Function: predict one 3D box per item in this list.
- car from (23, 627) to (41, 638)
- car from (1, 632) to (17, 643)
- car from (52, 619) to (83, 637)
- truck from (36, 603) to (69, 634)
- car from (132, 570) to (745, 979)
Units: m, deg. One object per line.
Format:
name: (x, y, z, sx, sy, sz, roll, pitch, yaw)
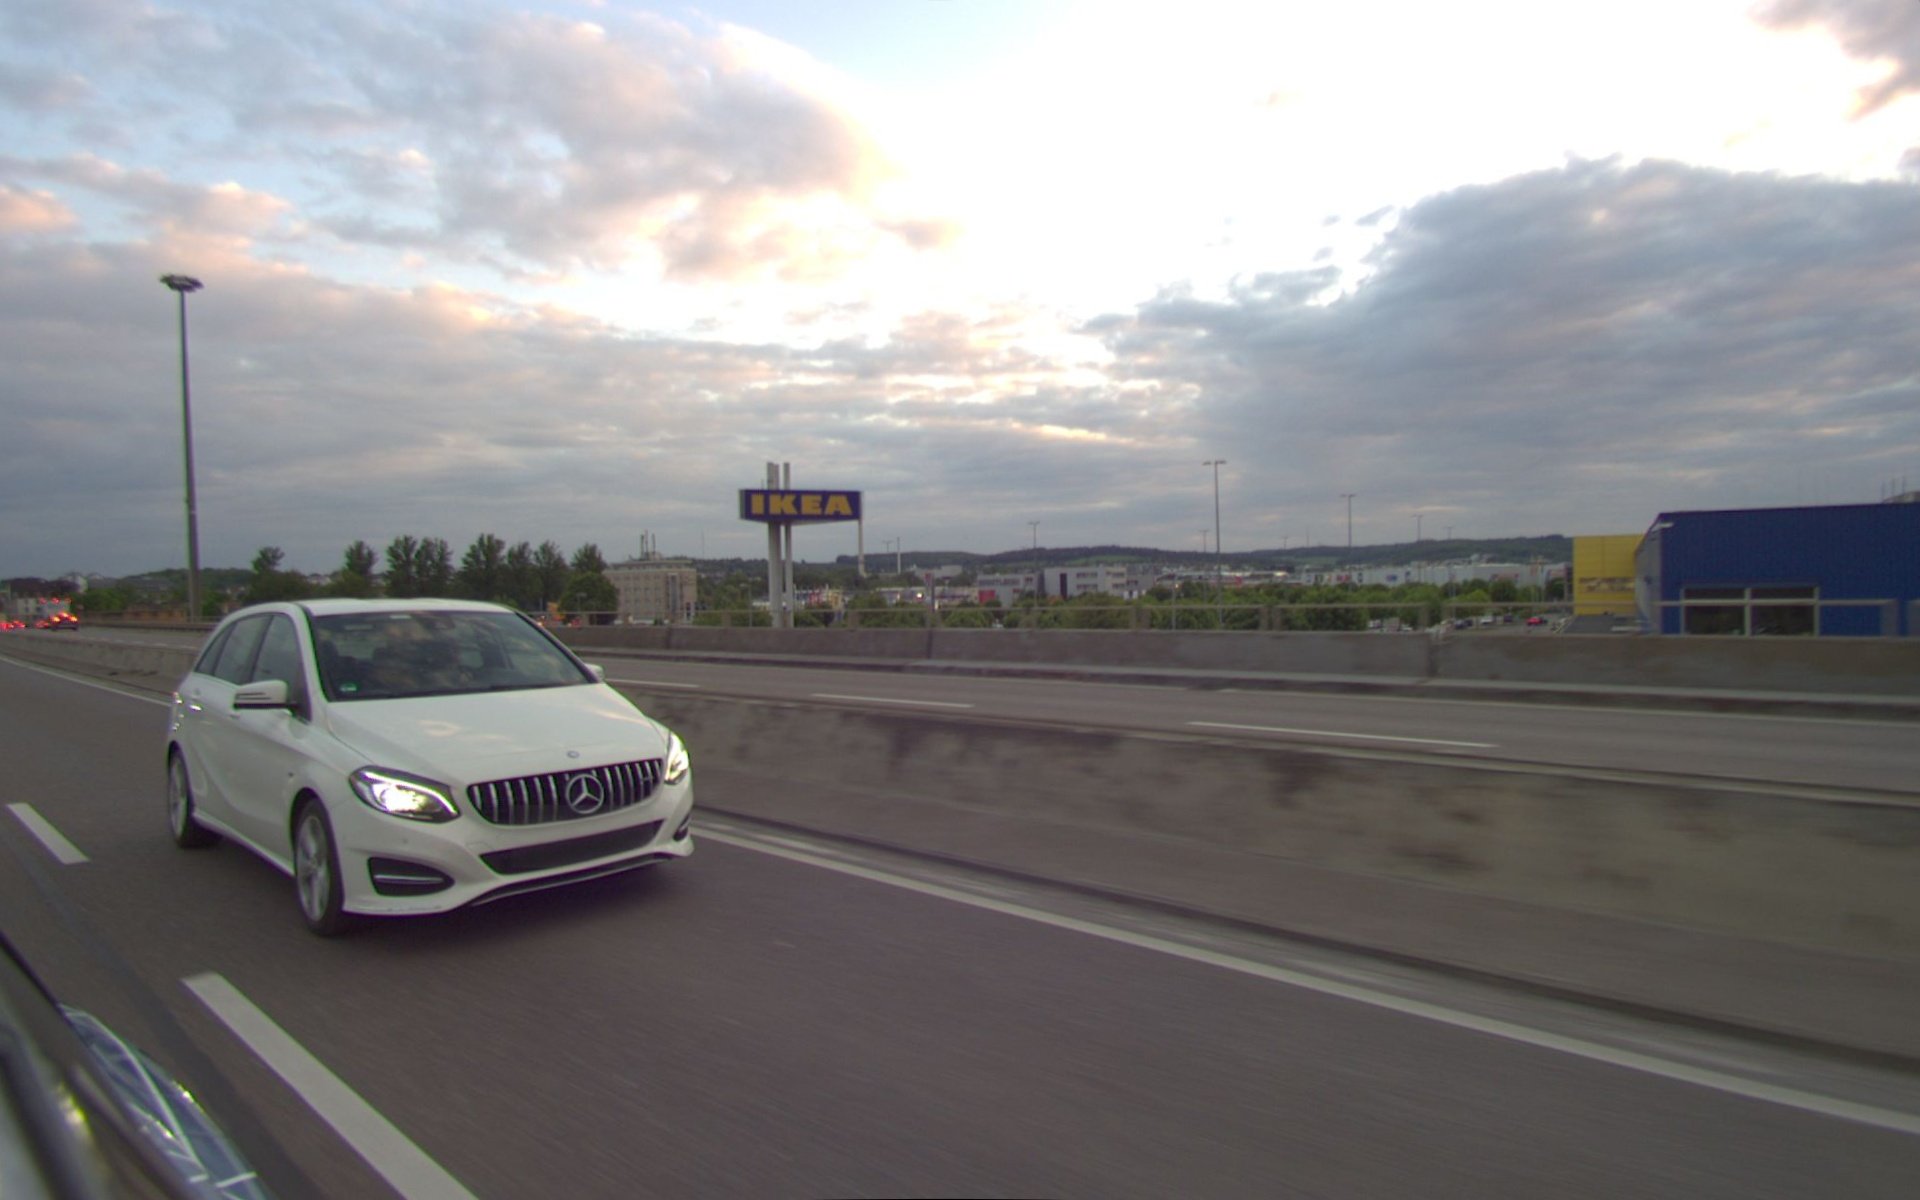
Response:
car: (-134.001, 4.662, 146.109, 1.810, 1.514, 4.819, 0, -1, -45)
car: (-141.261, 5.575, 150.318, 3.837, 1.452, 1.611, -3, -1, 44)
car: (-81.627, 2.540, 92.544, 1.953, 1.618, 4.445, -1, 0, -43)
truck: (-99.919, 2.013, 111.378, 2.505, 3.321, 7.453, -1, 0, -43)
car: (-3.425, 0.733, 6.068, 4.782, 1.548, 1.673, -3, -1, 42)
